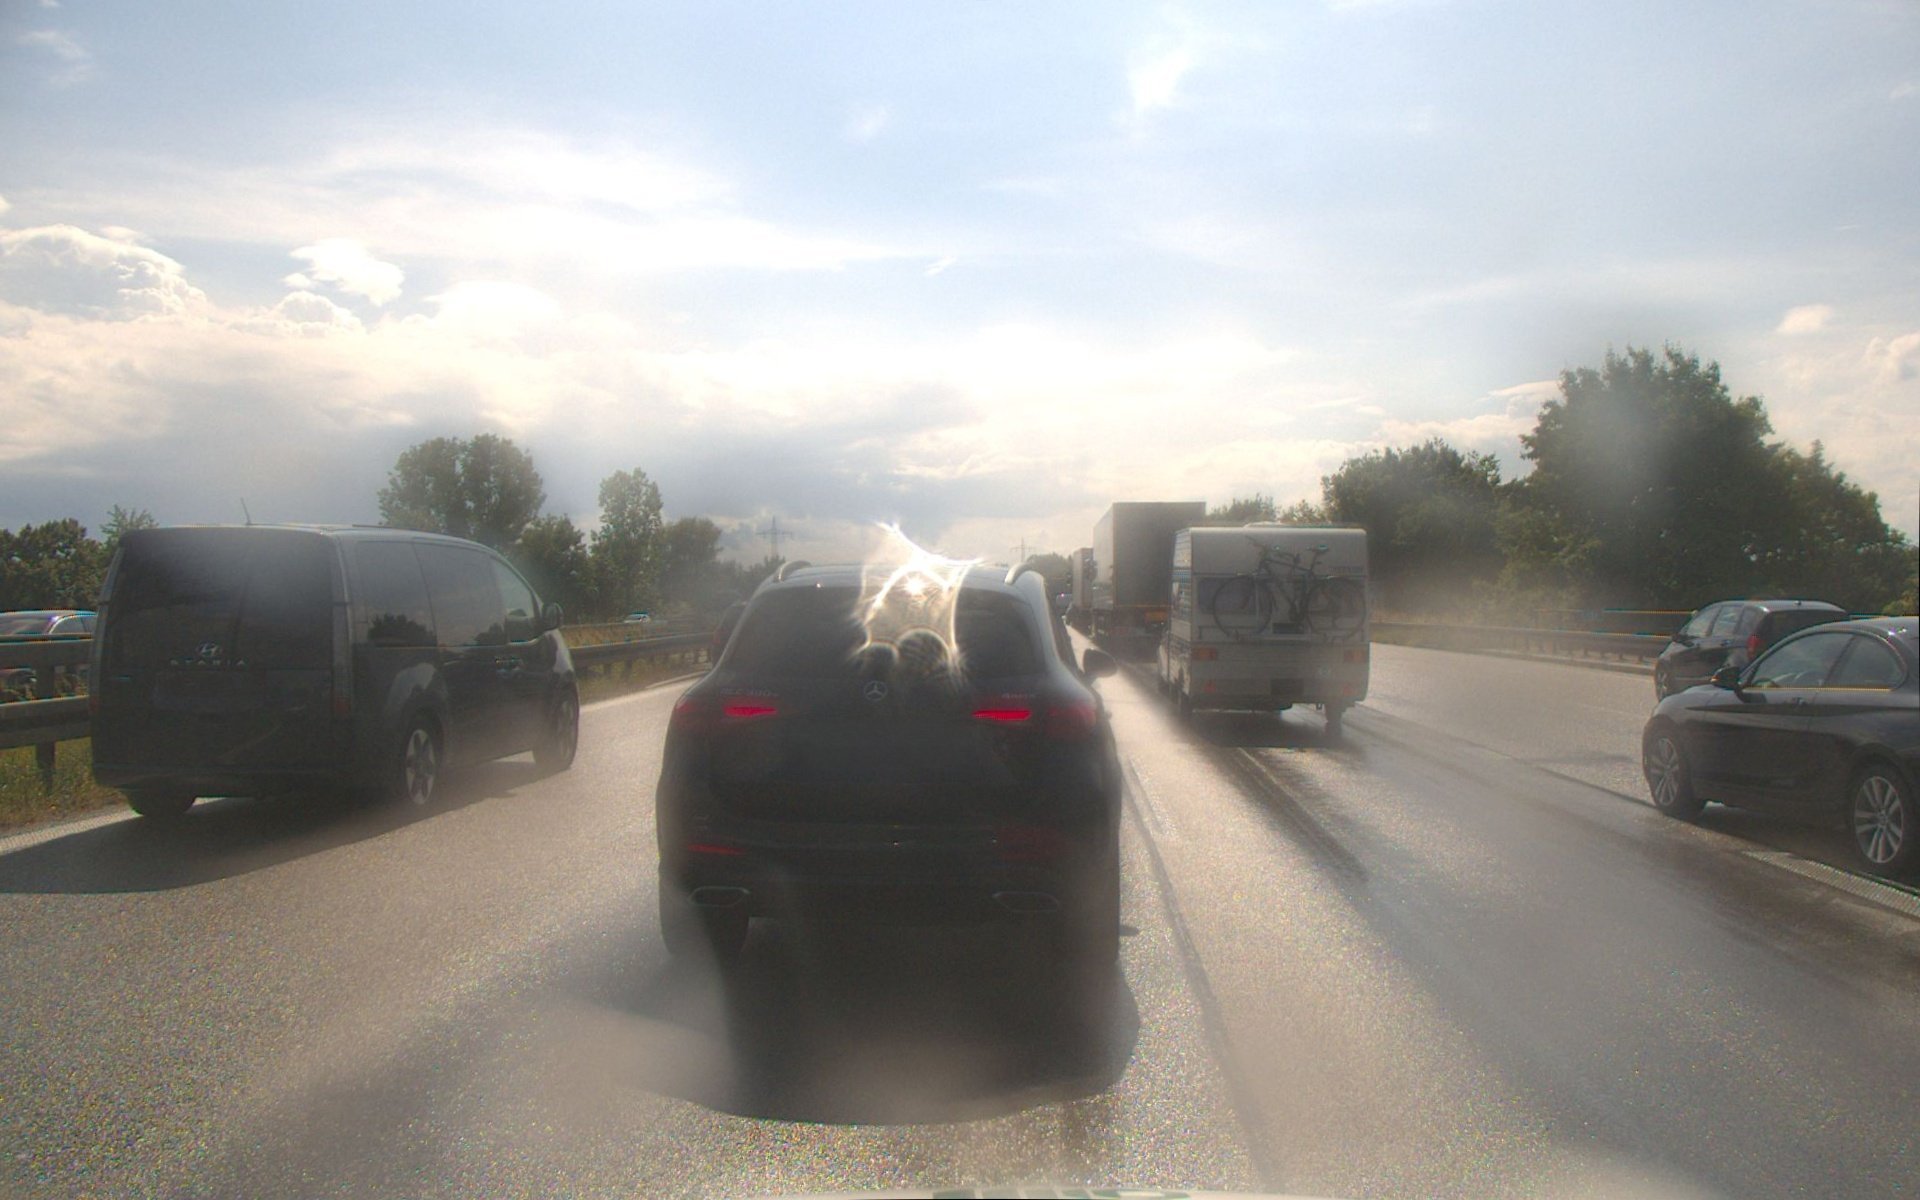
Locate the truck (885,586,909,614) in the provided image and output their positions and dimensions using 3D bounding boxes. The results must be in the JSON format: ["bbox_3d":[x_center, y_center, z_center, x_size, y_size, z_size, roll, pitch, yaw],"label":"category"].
[{"bbox_3d":[-9.756,0.032,257.700,2.942,4.175,7.689,-2,0,3],"label":"truck"}]

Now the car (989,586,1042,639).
[{"bbox_3d":[2.220,0.479,65.232,1.952,2.049,4.002,0,0,4],"label":"car"}]

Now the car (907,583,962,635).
[{"bbox_3d":[-1.072,0.387,71.448,1.952,2.048,4.002,4,0,4],"label":"car"}]

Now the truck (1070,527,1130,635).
[{"bbox_3d":[6.675,-0.861,79.640,2.450,4.914,7.545,1,0,2],"label":"truck"}]

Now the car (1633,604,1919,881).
[{"bbox_3d":[6.043,0.772,10.345,1.811,1.490,4.254,-1,0,-2],"label":"car"}]

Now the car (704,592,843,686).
[{"bbox_3d":[-3.244,0.644,29.528,1.720,1.543,4.211,0,0,4],"label":"car"}]

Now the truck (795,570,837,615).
[{"bbox_3d":[-13.105,-0.648,150.909,2.802,3.888,7.880,0,-1,3],"label":"truck"}]

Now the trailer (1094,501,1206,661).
[{"bbox_3d":[5.435,-0.512,48.298,2.943,4.239,8.541,1,0,5],"label":"trailer"}]

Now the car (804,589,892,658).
[{"bbox_3d":[-2.954,0.607,44.509,1.952,1.750,4.001,1,0,2],"label":"car"}]

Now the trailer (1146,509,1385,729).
[{"bbox_3d":[3.909,0.230,22.473,2.324,2.527,6.525,1,0,3],"label":"trailer"}]

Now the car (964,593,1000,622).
[{"bbox_3d":[1.383,0.443,103.430,1.952,1.644,4.002,4,0,4],"label":"car"}]

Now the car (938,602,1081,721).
[{"bbox_3d":[0.730,0.743,21.931,1.720,1.411,3.947,0,0,4],"label":"car"}]

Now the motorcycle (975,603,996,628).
[{"bbox_3d":[1.350,0.798,86.983,1.051,1.293,2.690,0,0,1],"label":"motorcycle"}]

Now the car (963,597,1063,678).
[{"bbox_3d":[1.056,0.674,31.524,1.768,1.432,4.002,1,0,3],"label":"car"}]

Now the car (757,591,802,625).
[{"bbox_3d":[-11.175,0.474,102.744,1.952,2.049,5.560,-1,0,2],"label":"car"}]

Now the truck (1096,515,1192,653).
[{"bbox_3d":[5.915,-0.507,53.771,2.932,4.239,5.243,1,0,5],"label":"truck"}]

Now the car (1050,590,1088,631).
[{"bbox_3d":[5.818,0.541,88.441,1.952,2.049,4.002,2,0,4],"label":"car"}]

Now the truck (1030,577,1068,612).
[{"bbox_3d":[10.729,-0.665,200.234,3.765,4.087,11.218,1,0,-1],"label":"truck"}]

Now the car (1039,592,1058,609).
[{"bbox_3d":[9.533,0.056,178.348,1.837,1.791,4.000,1,0,0],"label":"car"}]

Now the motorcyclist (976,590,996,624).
[{"bbox_3d":[1.357,0.358,87.170,1.042,1.748,0.785,0,0,1],"label":"motorcyclist"}]

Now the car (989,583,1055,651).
[{"bbox_3d":[2.109,0.541,55.180,1.952,2.048,4.002,4,0,4],"label":"car"}]

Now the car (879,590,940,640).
[{"bbox_3d":[-1.916,0.561,63.806,1.952,1.803,4.002,1,0,4],"label":"car"}]

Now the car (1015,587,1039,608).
[{"bbox_3d":[5.782,-0.227,143.034,1.837,1.791,4.000,1,0,0],"label":"car"}]

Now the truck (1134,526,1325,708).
[{"bbox_3d":[4.090,0.250,26.102,2.324,2.520,5.758,1,0,3],"label":"truck"}]

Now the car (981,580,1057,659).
[{"bbox_3d":[1.661,0.505,45.212,1.952,2.049,4.002,1,0,4],"label":"car"}]

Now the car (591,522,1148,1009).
[{"bbox_3d":[-0.212,0.581,7.991,1.952,1.690,4.407,0,0,3],"label":"car"}]

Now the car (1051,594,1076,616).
[{"bbox_3d":[8.572,0.397,137.430,1.837,1.791,4.000,1,0,0],"label":"car"}]

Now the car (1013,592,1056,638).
[{"bbox_3d":[3.605,0.705,79.519,1.952,2.049,4.002,2,0,4],"label":"car"}]

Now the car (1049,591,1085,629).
[{"bbox_3d":[6.393,0.584,98.839,1.952,2.048,4.002,4,0,4],"label":"car"}]

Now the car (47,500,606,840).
[{"bbox_3d":[-4.406,0.418,12.642,1.952,2.049,5.272,0,0,4],"label":"car"}]

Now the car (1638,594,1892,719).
[{"bbox_3d":[11.249,0.734,23.440,1.810,1.596,4.001,1,0,3],"label":"car"}]
